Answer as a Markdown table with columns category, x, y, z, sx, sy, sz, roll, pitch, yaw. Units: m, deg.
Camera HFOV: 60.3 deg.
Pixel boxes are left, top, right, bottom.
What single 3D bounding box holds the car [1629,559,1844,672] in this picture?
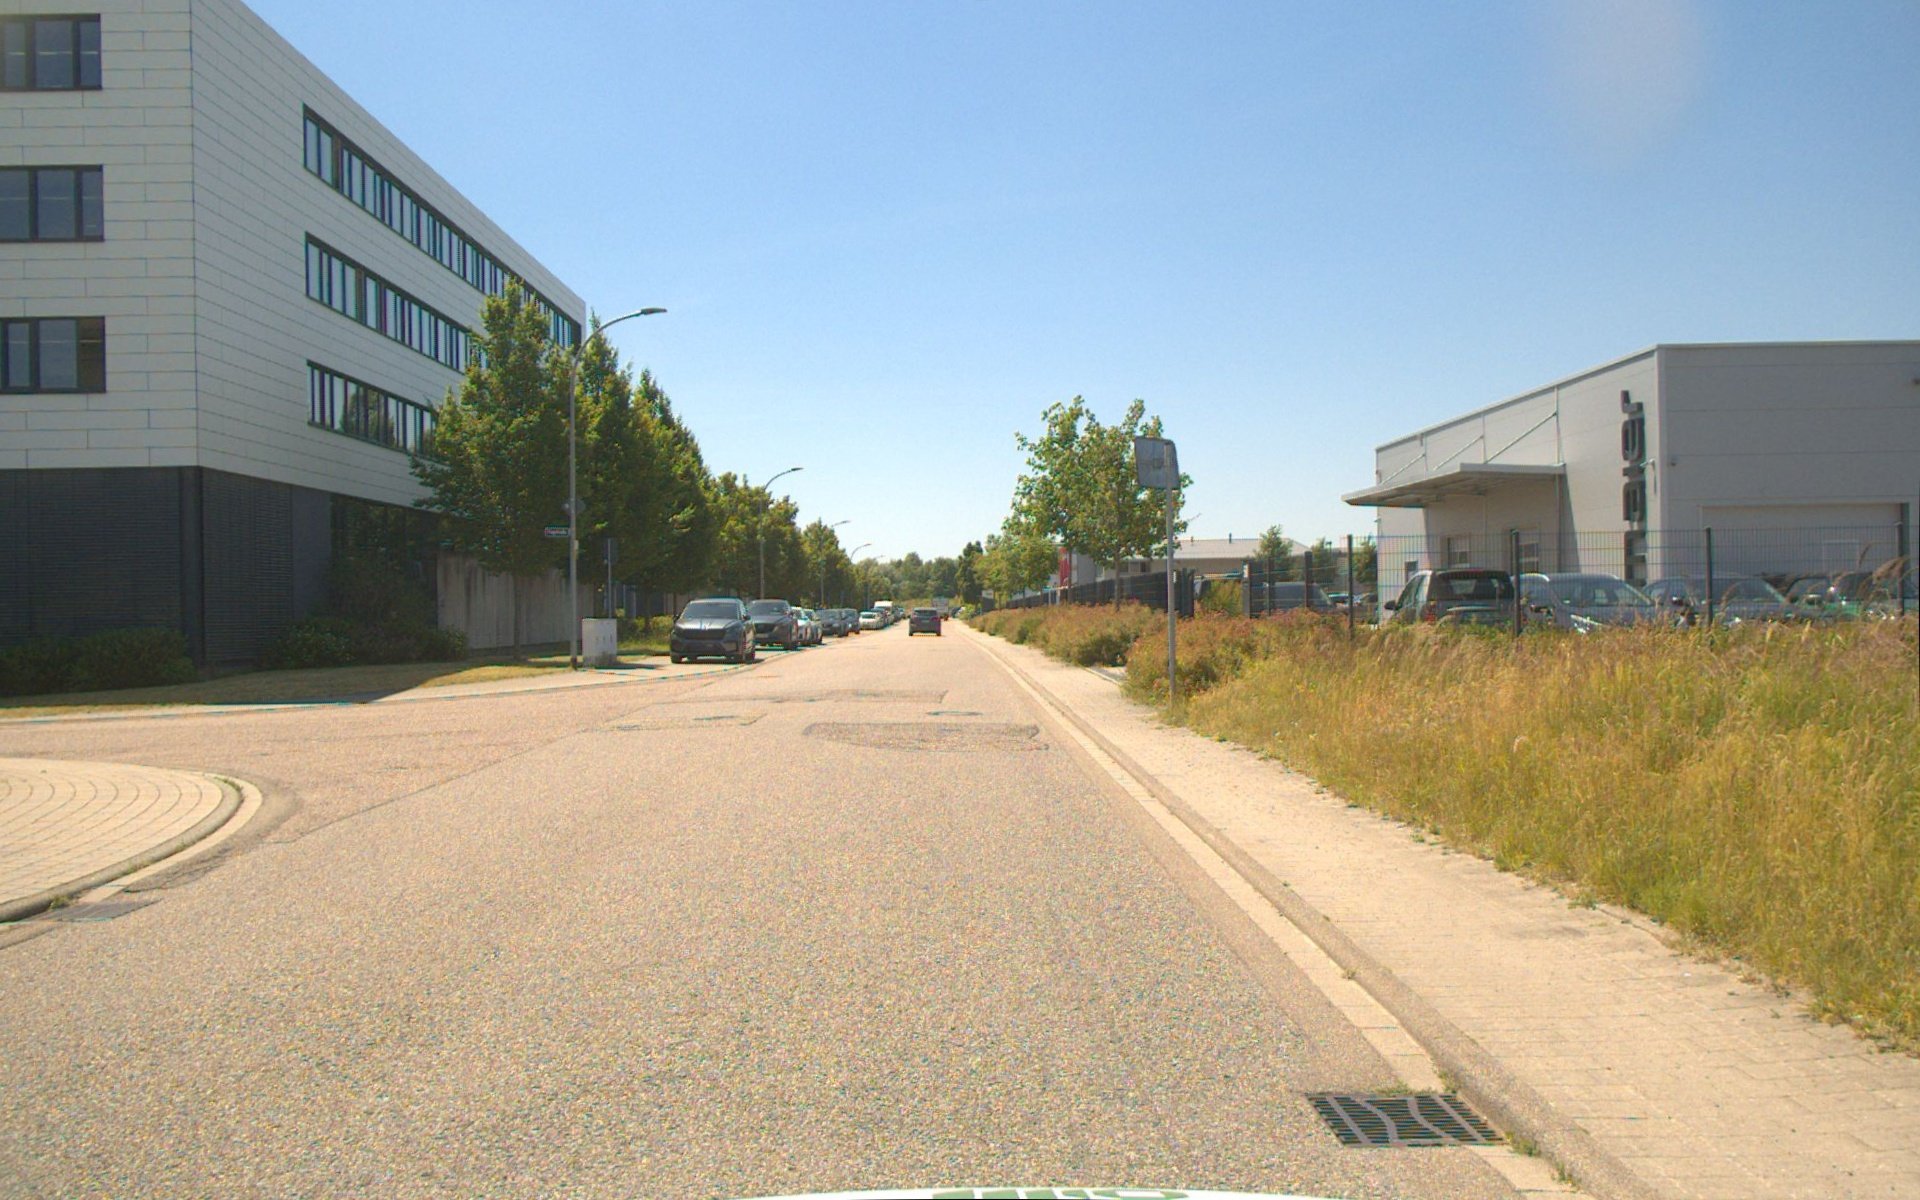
| category | x | y | z | sx | sy | sz | roll | pitch | yaw |
| --- | --- | --- | --- | --- | --- | --- | --- | --- | --- |
| car | 11.419 | 0.232 | 24.550 | 1.484 | 1.522 | 3.330 | -2 | -1 | -2 |

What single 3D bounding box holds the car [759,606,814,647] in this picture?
| category | x | y | z | sx | sy | sz | roll | pitch | yaw |
| --- | --- | --- | --- | --- | --- | --- | --- | --- | --- |
| car | -6.626 | 0.996 | 63.366 | 1.735 | 1.456 | 4.200 | 0 | 1 | -1 |

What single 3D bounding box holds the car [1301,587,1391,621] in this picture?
| category | x | y | z | sx | sy | sz | roll | pitch | yaw |
| --- | --- | --- | --- | --- | --- | --- | --- | --- | --- |
| car | 18.112 | 0.204 | 77.769 | 3.793 | 1.427 | 1.767 | -2 | -1 | 1 |

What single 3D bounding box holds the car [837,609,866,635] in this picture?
| category | x | y | z | sx | sy | sz | roll | pitch | yaw |
| --- | --- | --- | --- | --- | --- | --- | --- | --- | --- |
| car | -7.123 | 1.420 | 108.713 | 1.735 | 1.640 | 4.245 | 0 | -1 | -2 |

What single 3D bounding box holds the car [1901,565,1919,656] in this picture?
| category | x | y | z | sx | sy | sz | roll | pitch | yaw |
| --- | --- | --- | --- | --- | --- | --- | --- | --- | --- |
| car | 15.808 | 0.124 | 24.600 | 1.484 | 1.421 | 3.539 | -2 | -1 | -2 |

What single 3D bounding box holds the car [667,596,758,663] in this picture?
| category | x | y | z | sx | sy | sz | roll | pitch | yaw |
| --- | --- | --- | --- | --- | --- | --- | --- | --- | --- |
| car | -6.319 | 0.749 | 42.673 | 1.735 | 1.615 | 4.480 | -1 | -1 | -1 |

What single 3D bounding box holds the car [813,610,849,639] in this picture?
| category | x | y | z | sx | sy | sz | roll | pitch | yaw |
| --- | --- | --- | --- | --- | --- | --- | --- | --- | --- |
| car | -7.010 | 1.306 | 90.276 | 1.735 | 1.456 | 4.200 | 0 | 1 | -1 |

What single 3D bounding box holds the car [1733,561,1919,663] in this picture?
| category | x | y | z | sx | sy | sz | roll | pitch | yaw |
| --- | --- | --- | --- | --- | --- | --- | --- | --- | --- |
| car | 13.490 | 0.185 | 25.517 | 1.428 | 1.437 | 3.330 | -2 | -1 | -2 |

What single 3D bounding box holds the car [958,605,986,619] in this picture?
| category | x | y | z | sx | sy | sz | roll | pitch | yaw |
| --- | --- | --- | --- | --- | --- | --- | --- | --- | --- |
| car | 1.692 | 1.682 | 228.689 | 3.798 | 1.780 | 1.750 | 1 | -1 | -3 |

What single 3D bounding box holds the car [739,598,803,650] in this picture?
| category | x | y | z | sx | sy | sz | roll | pitch | yaw |
| --- | --- | --- | --- | --- | --- | --- | --- | --- | --- |
| car | -6.330 | 0.767 | 55.776 | 1.735 | 1.652 | 4.581 | 0 | 1 | -1 |

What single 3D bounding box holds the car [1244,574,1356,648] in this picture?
| category | x | y | z | sx | sy | sz | roll | pitch | yaw |
| --- | --- | --- | --- | --- | --- | --- | --- | --- | --- |
| car | 7.910 | 0.223 | 38.746 | 1.773 | 1.579 | 3.576 | -2 | 1 | -1 |

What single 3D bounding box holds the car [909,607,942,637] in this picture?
| category | x | y | z | sx | sy | sz | roll | pitch | yaw |
| --- | --- | --- | --- | --- | --- | --- | --- | --- | --- |
| car | -1.921 | 1.225 | 92.543 | 1.753 | 1.652 | 3.808 | 1 | -1 | -1 |

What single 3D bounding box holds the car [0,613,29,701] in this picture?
| category | x | y | z | sx | sy | sz | roll | pitch | yaw |
| --- | --- | --- | --- | --- | --- | --- | --- | --- | --- |
| car | -19.263 | 1.215 | 30.054 | 1.768 | 1.620 | 4.905 | -1 | 3 | 1 |

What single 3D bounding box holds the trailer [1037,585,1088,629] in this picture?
| category | x | y | z | sx | sy | sz | roll | pitch | yaw |
| --- | --- | --- | --- | --- | --- | --- | --- | --- | --- |
| trailer | 6.025 | 0.410 | 97.528 | 2.767 | 2.445 | 1.418 | -2 | -1 | -5 |

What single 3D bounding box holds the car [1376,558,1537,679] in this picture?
| category | x | y | z | sx | sy | sz | roll | pitch | yaw |
| --- | --- | --- | --- | --- | --- | --- | --- | --- | --- |
| car | 7.081 | 0.269 | 23.789 | 1.437 | 1.601 | 2.661 | -2 | -1 | -1 |

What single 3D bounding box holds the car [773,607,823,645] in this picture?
| category | x | y | z | sx | sy | sz | roll | pitch | yaw |
| --- | --- | --- | --- | --- | --- | --- | --- | --- | --- |
| car | -6.652 | 1.050 | 68.115 | 1.735 | 1.456 | 3.939 | 0 | 1 | -1 |

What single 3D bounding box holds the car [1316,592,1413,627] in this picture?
| category | x | y | z | sx | sy | sz | roll | pitch | yaw |
| --- | --- | --- | --- | --- | --- | --- | --- | --- | --- |
| car | 18.311 | 0.418 | 75.017 | 3.907 | 1.427 | 1.818 | -2 | -1 | -2 |

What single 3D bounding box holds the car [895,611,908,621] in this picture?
| category | x | y | z | sx | sy | sz | roll | pitch | yaw |
| --- | --- | --- | --- | --- | --- | --- | --- | --- | --- |
| car | -9.185 | 2.516 | 259.574 | 1.762 | 1.513 | 4.252 | 0 | 0 | 1 |

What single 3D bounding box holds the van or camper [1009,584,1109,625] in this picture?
| category | x | y | z | sx | sy | sz | roll | pitch | yaw |
| --- | --- | --- | --- | --- | --- | --- | --- | --- | --- |
| van or camper | 6.803 | 0.316 | 113.926 | 6.621 | 2.630 | 2.635 | -2 | -1 | -2 |

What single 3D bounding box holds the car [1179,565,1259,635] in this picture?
| category | x | y | z | sx | sy | sz | roll | pitch | yaw |
| --- | --- | --- | --- | --- | --- | --- | --- | --- | --- |
| car | 8.519 | 0.012 | 54.778 | 1.839 | 2.123 | 4.224 | -2 | 0 | -1 |

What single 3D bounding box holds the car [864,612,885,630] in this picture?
| category | x | y | z | sx | sy | sz | roll | pitch | yaw |
| --- | --- | --- | --- | --- | --- | --- | --- | --- | --- |
| car | -7.288 | 1.784 | 140.830 | 1.686 | 1.502 | 3.855 | 0 | -1 | -3 |

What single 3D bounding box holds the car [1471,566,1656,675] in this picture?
| category | x | y | z | sx | sy | sz | roll | pitch | yaw |
| --- | --- | --- | --- | --- | --- | --- | --- | --- | --- |
| car | 9.123 | 0.310 | 25.256 | 1.484 | 1.522 | 3.330 | -1 | -1 | -2 |

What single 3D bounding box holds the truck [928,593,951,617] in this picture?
| category | x | y | z | sx | sy | sz | roll | pitch | yaw |
| --- | --- | --- | --- | --- | --- | --- | --- | --- | --- |
| truck | -2.594 | 0.642 | 213.342 | 2.873 | 3.026 | 6.418 | 1 | -1 | -1 |
